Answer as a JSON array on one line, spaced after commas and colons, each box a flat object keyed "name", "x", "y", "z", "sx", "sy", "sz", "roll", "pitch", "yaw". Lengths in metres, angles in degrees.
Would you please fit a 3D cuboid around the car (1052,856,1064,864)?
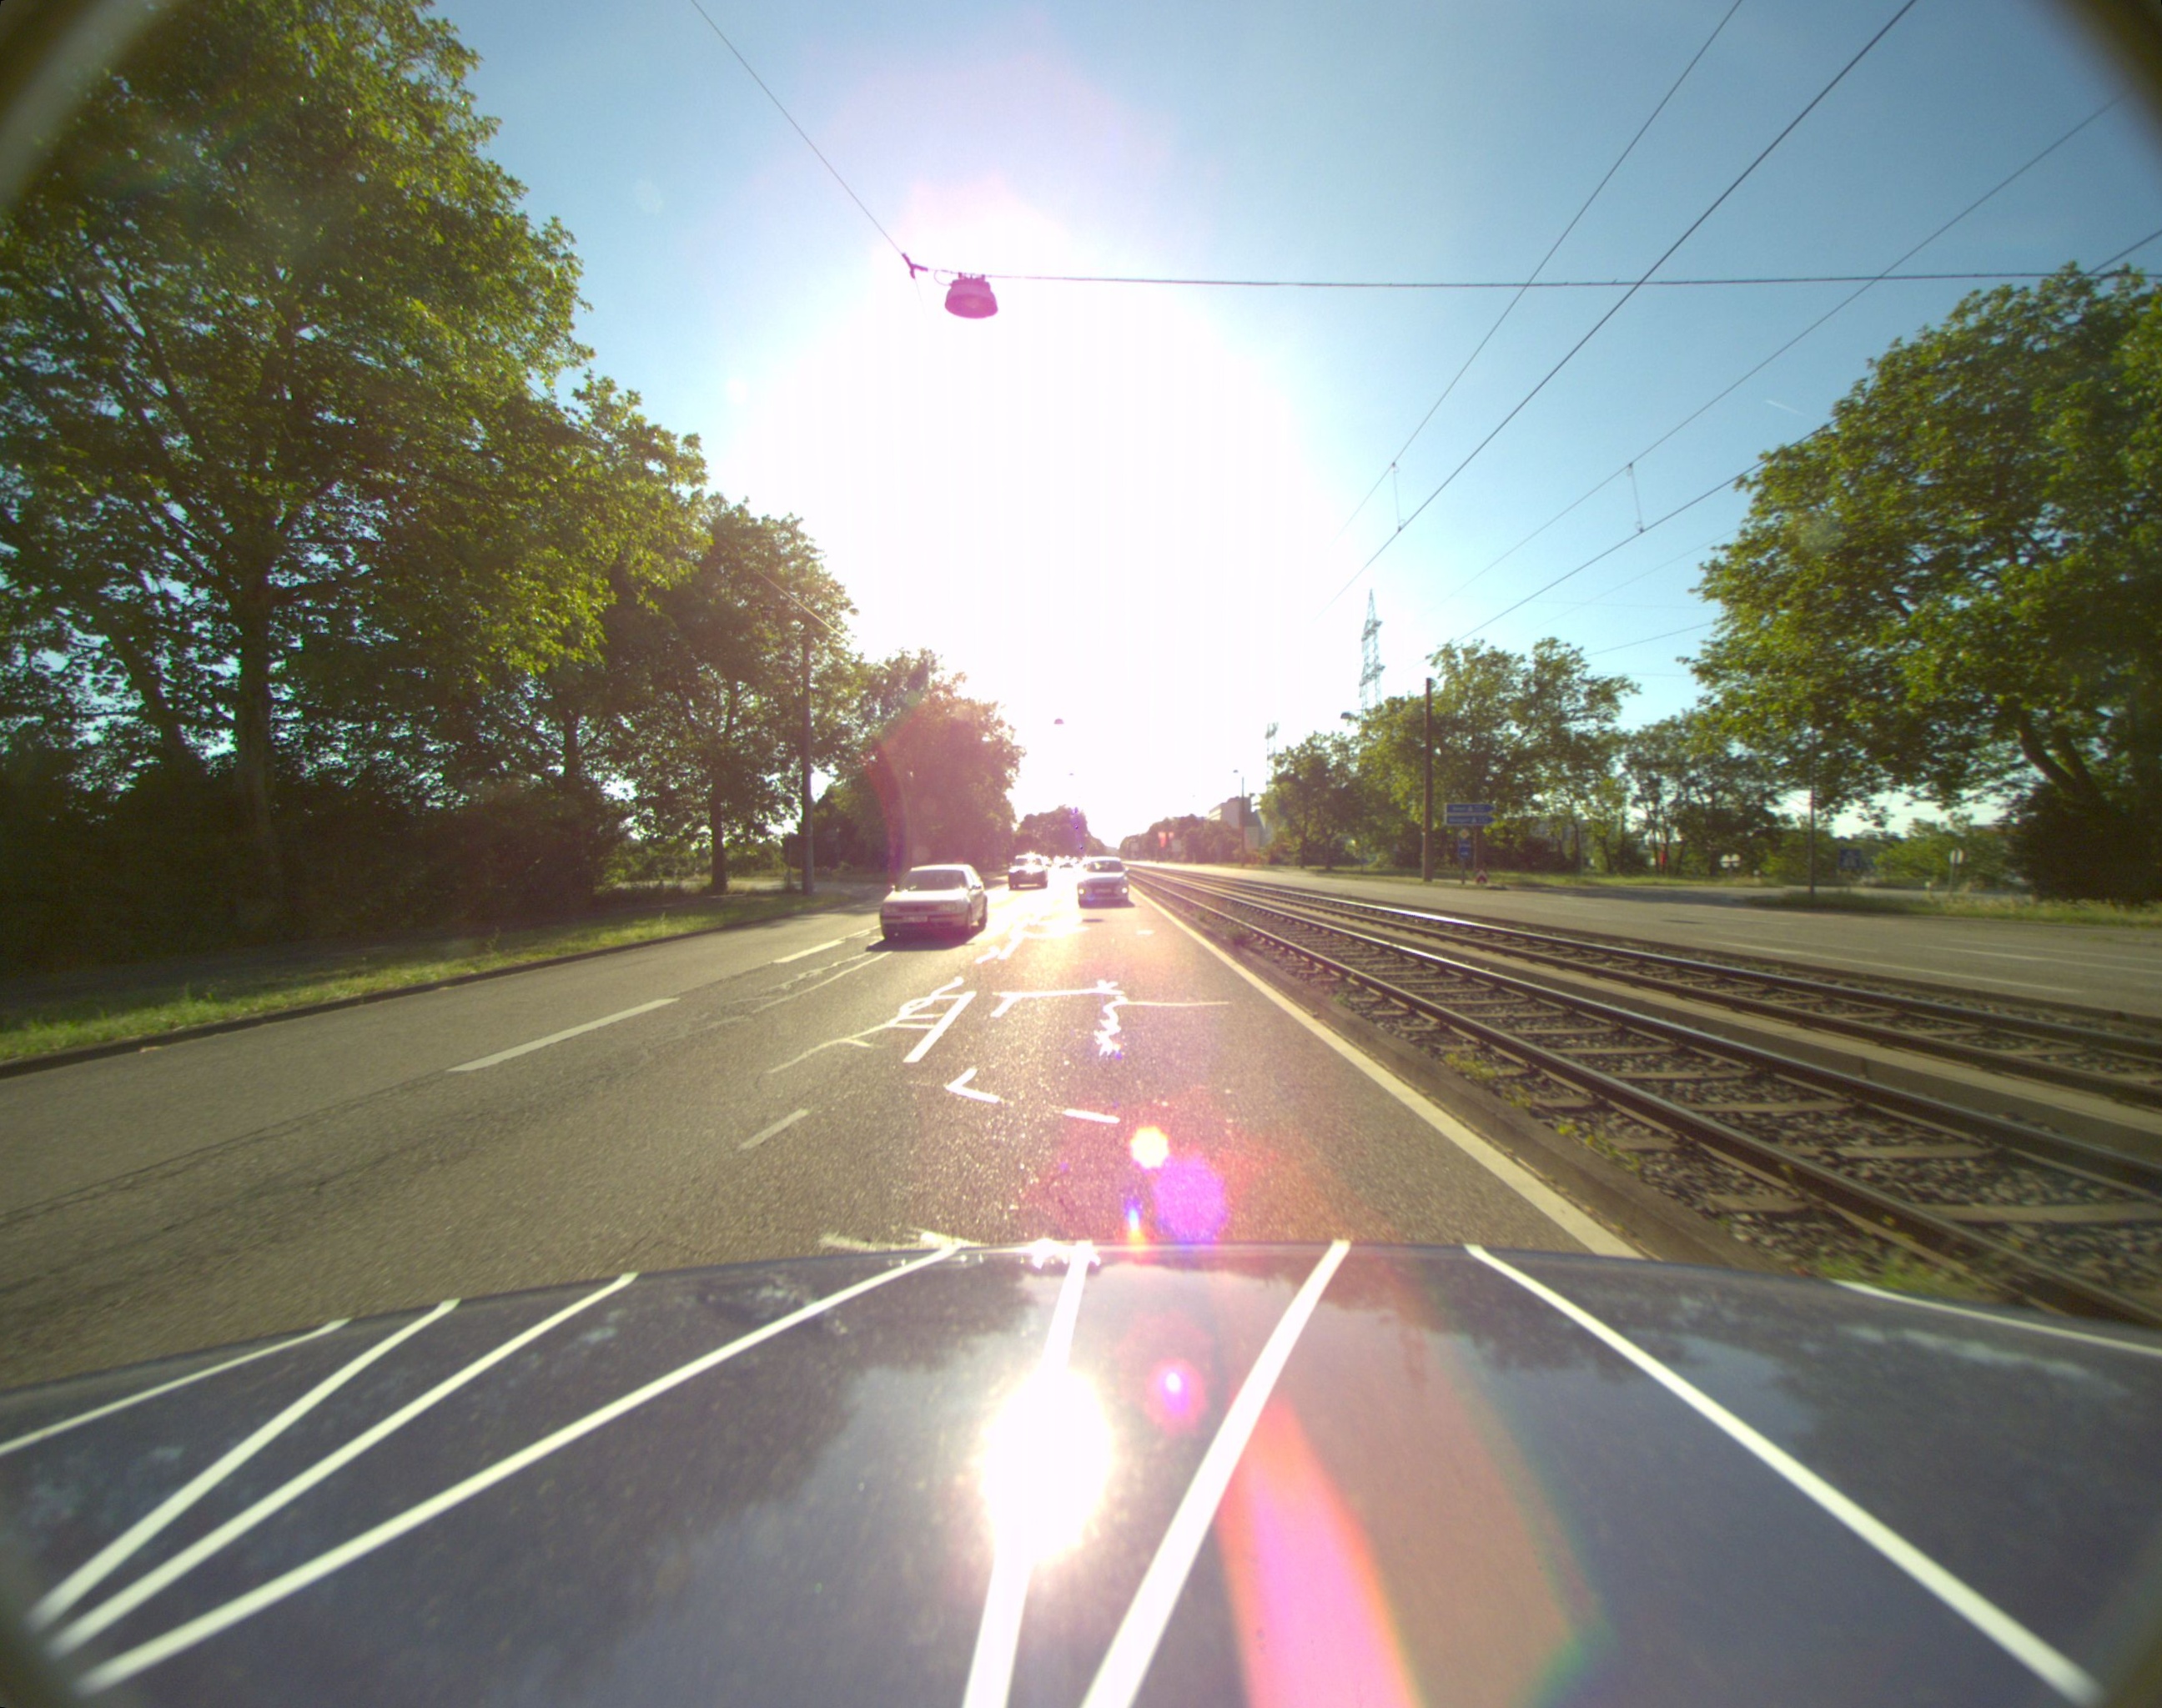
[{"name": "car", "x": -4.644, "y": 1.191, "z": 151.504, "sx": 1.880, "sy": 1.449, "sz": 4.418, "roll": -1, "pitch": 1, "yaw": 5}]

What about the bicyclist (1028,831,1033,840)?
[{"name": "bicyclist", "x": -8.352, "y": -2.971, "z": 124.660, "sx": 0.628, "sy": 1.463, "sz": 1.061, "roll": 3, "pitch": 1, "yaw": 4}]

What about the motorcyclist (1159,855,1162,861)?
[{"name": "motorcyclist", "x": 17.948, "y": 0.899, "z": 171.056, "sx": 0.537, "sy": 1.263, "sz": 0.805, "roll": -2, "pitch": 1, "yaw": 1}]

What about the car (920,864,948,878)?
[{"name": "car", "x": -15.937, "y": 1.820, "z": 82.638, "sx": 1.881, "sy": 1.435, "sz": 4.660, "roll": -1, "pitch": 0, "yaw": 3}]

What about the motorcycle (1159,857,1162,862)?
[{"name": "motorcycle", "x": 17.961, "y": 1.179, "z": 171.106, "sx": 0.537, "sy": 1.084, "sz": 1.902, "roll": -2, "pitch": 1, "yaw": 1}]

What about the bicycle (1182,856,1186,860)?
[{"name": "bicycle", "x": 22.581, "y": 0.869, "z": 167.202, "sx": 0.591, "sy": 1.016, "sz": 2.185, "roll": 0, "pitch": 0, "yaw": 0}]

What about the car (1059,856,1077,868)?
[{"name": "car", "x": -1.617, "y": 0.968, "z": 95.813, "sx": 1.881, "sy": 1.449, "sz": 4.417, "roll": -1, "pitch": 1, "yaw": 2}]

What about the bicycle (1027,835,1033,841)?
[{"name": "bicycle", "x": -8.380, "y": -2.644, "z": 124.598, "sx": 0.628, "sy": 0.829, "sz": 1.635, "roll": 3, "pitch": 1, "yaw": 4}]

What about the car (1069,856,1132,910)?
[{"name": "car", "x": 0.686, "y": 0.893, "z": 25.400, "sx": 1.881, "sy": 1.591, "sz": 4.417, "roll": -1, "pitch": 1, "yaw": 2}]

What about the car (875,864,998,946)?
[{"name": "car", "x": -2.936, "y": 0.983, "z": 16.277, "sx": 1.725, "sy": 1.437, "sz": 4.001, "roll": -1, "pitch": 1, "yaw": 2}]

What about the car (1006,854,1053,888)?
[{"name": "car", "x": -2.599, "y": 0.827, "z": 39.327, "sx": 1.881, "sy": 1.591, "sz": 4.417, "roll": -1, "pitch": 1, "yaw": 2}]

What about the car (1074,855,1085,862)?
[{"name": "car", "x": -0.272, "y": 0.891, "z": 159.362, "sx": 1.880, "sy": 1.449, "sz": 4.418, "roll": -1, "pitch": 1, "yaw": 5}]

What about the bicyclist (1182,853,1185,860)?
[{"name": "bicyclist", "x": 22.567, "y": 0.561, "z": 167.010, "sx": 0.591, "sy": 1.601, "sz": 0.967, "roll": 0, "pitch": 1, "yaw": 0}]
